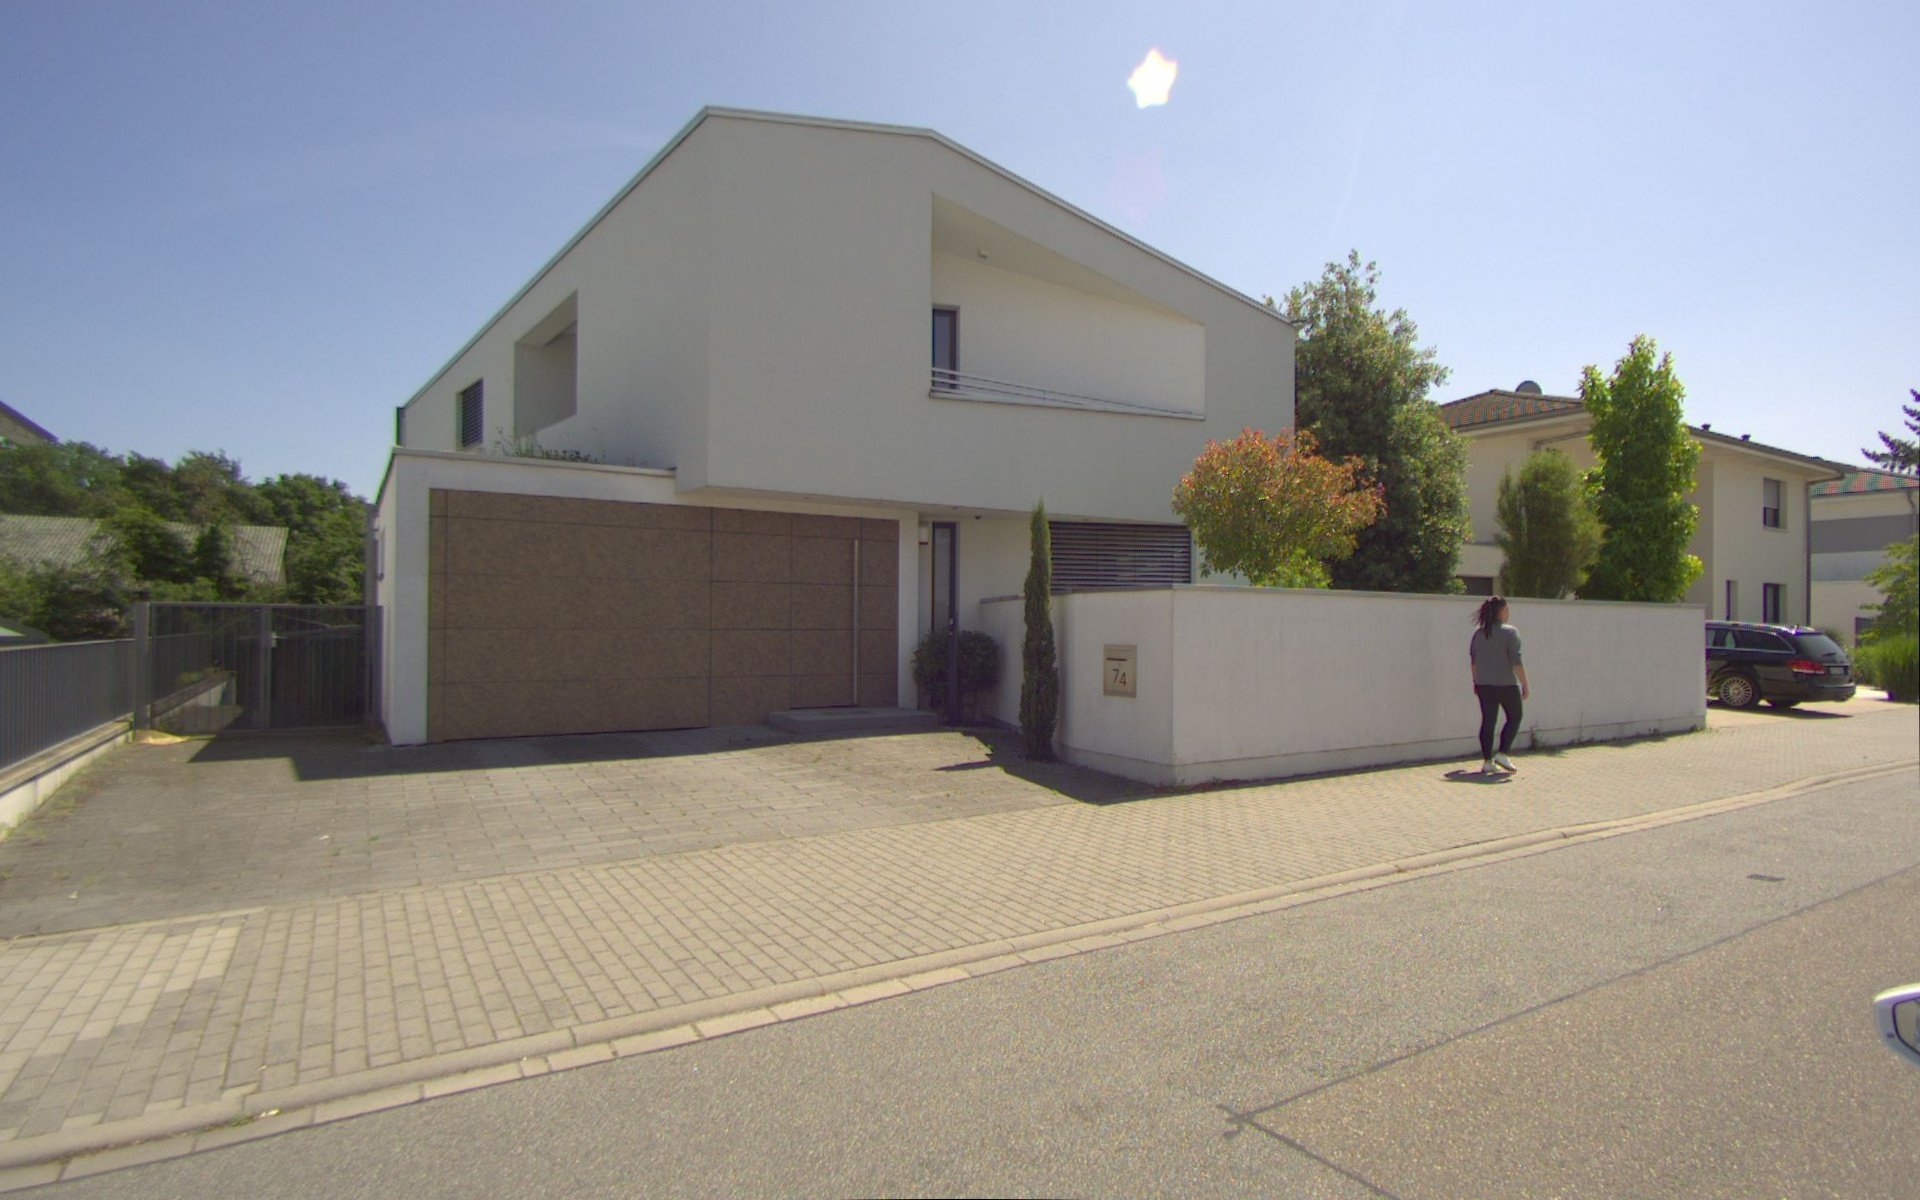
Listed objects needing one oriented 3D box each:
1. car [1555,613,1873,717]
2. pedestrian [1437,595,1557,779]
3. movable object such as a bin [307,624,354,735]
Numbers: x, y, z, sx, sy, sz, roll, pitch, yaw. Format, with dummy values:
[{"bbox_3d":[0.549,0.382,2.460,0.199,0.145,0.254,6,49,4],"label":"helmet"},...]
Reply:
[{"bbox_3d":[13.956,1.107,18.922,1.827,1.493,4.411,1,2,-27],"label":"car"},{"bbox_3d":[5.483,0.855,10.266,0.950,1.770,0.711,1,-1,-31],"label":"pedestrian"},{"bbox_3d":[-8.337,1.036,13.309,0.484,1.437,0.475,1,-1,-30],"label":"movable object such as a bin"}]
